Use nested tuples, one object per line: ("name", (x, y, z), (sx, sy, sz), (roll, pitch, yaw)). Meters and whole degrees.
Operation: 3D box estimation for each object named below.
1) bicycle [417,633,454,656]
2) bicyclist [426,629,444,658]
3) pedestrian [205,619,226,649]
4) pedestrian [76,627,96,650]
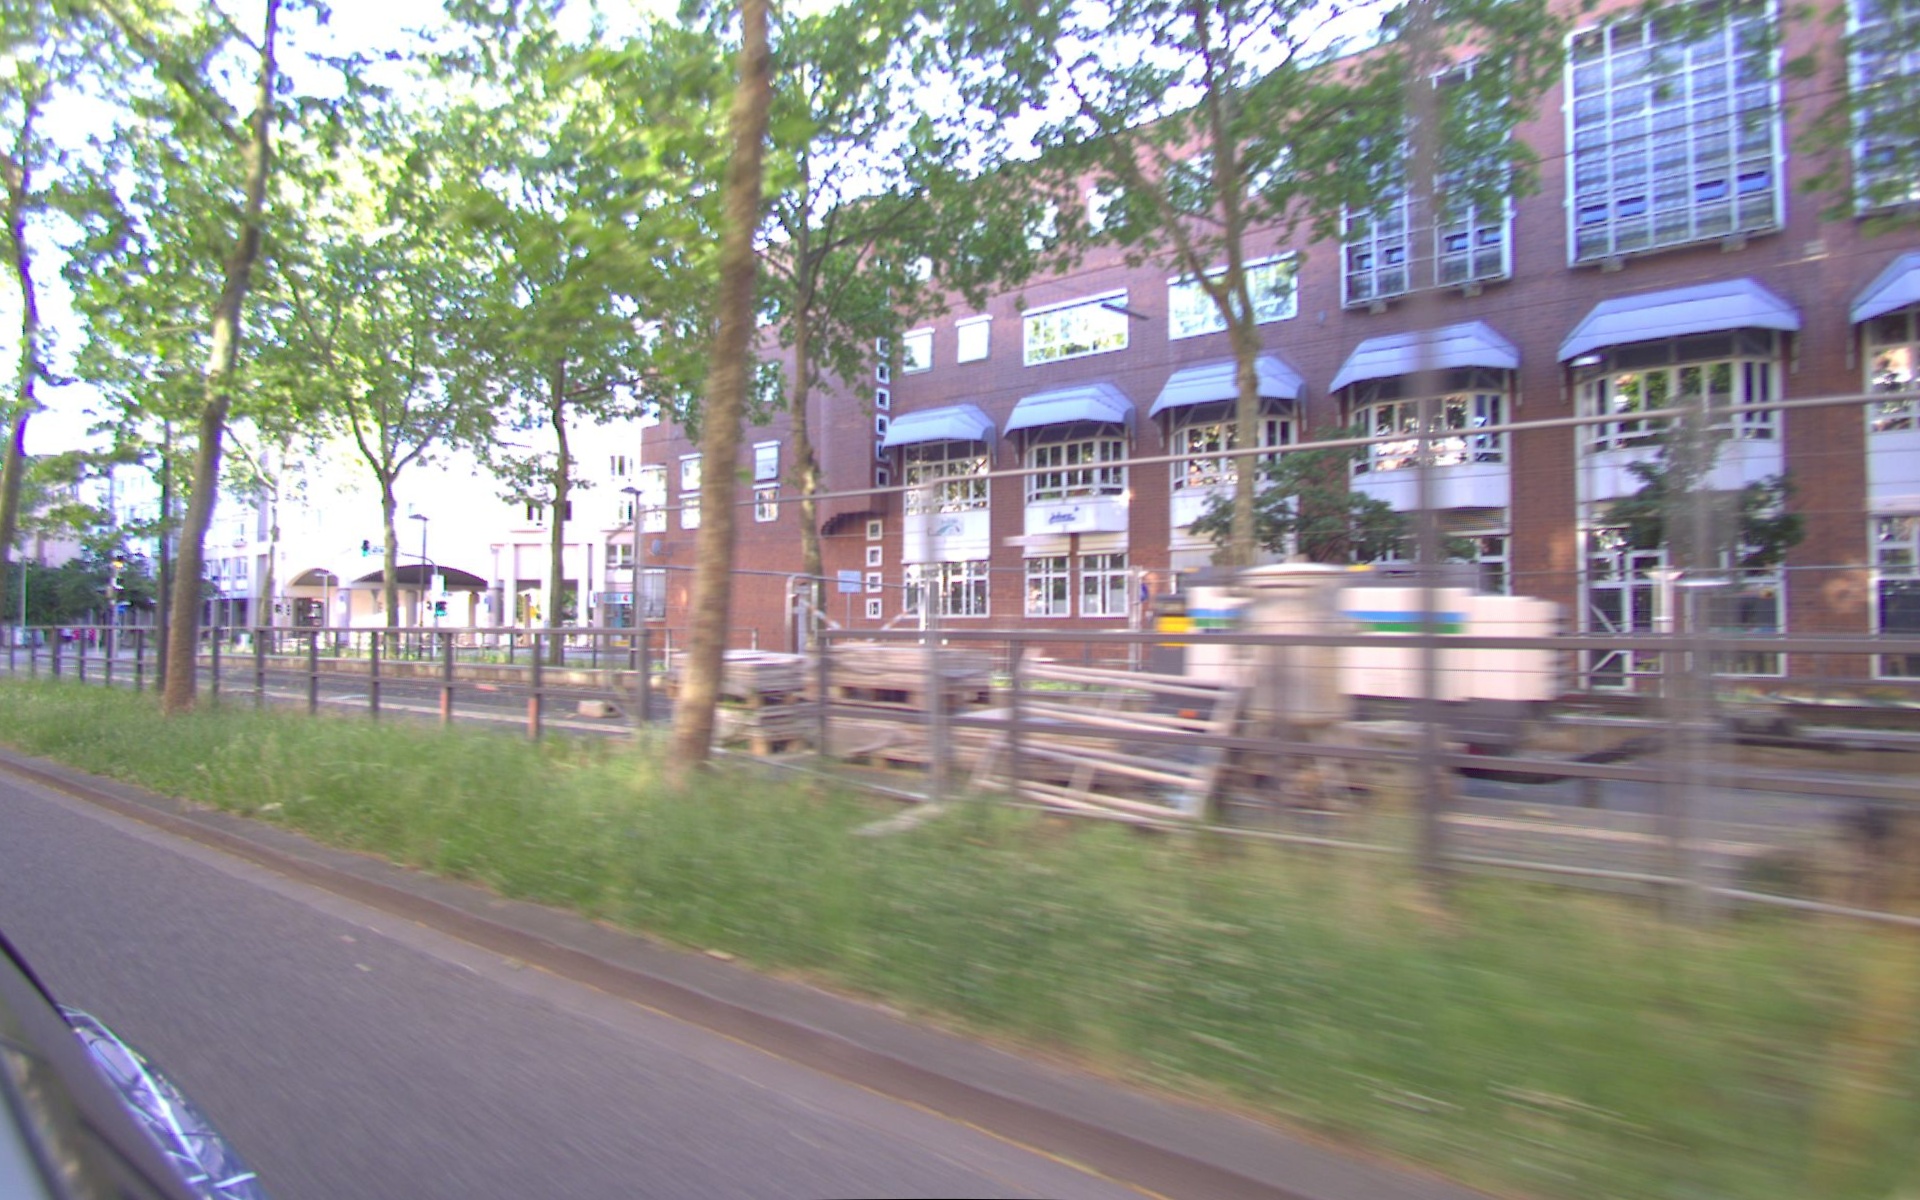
("bicycle", (-30.994, 2.620, 59.807), (1.796, 1.271, 0.772), (-1, 0, 5))
("bicyclist", (-31.019, 2.550, 59.806), (0.660, 1.661, 0.718), (-1, 0, 6))
("pedestrian", (-51.511, 2.346, 69.982), (0.876, 2.029, 0.993), (-1, 0, 41))
("pedestrian", (-63.969, 2.799, 74.066), (0.876, 1.613, 0.993), (-1, 0, 41))
